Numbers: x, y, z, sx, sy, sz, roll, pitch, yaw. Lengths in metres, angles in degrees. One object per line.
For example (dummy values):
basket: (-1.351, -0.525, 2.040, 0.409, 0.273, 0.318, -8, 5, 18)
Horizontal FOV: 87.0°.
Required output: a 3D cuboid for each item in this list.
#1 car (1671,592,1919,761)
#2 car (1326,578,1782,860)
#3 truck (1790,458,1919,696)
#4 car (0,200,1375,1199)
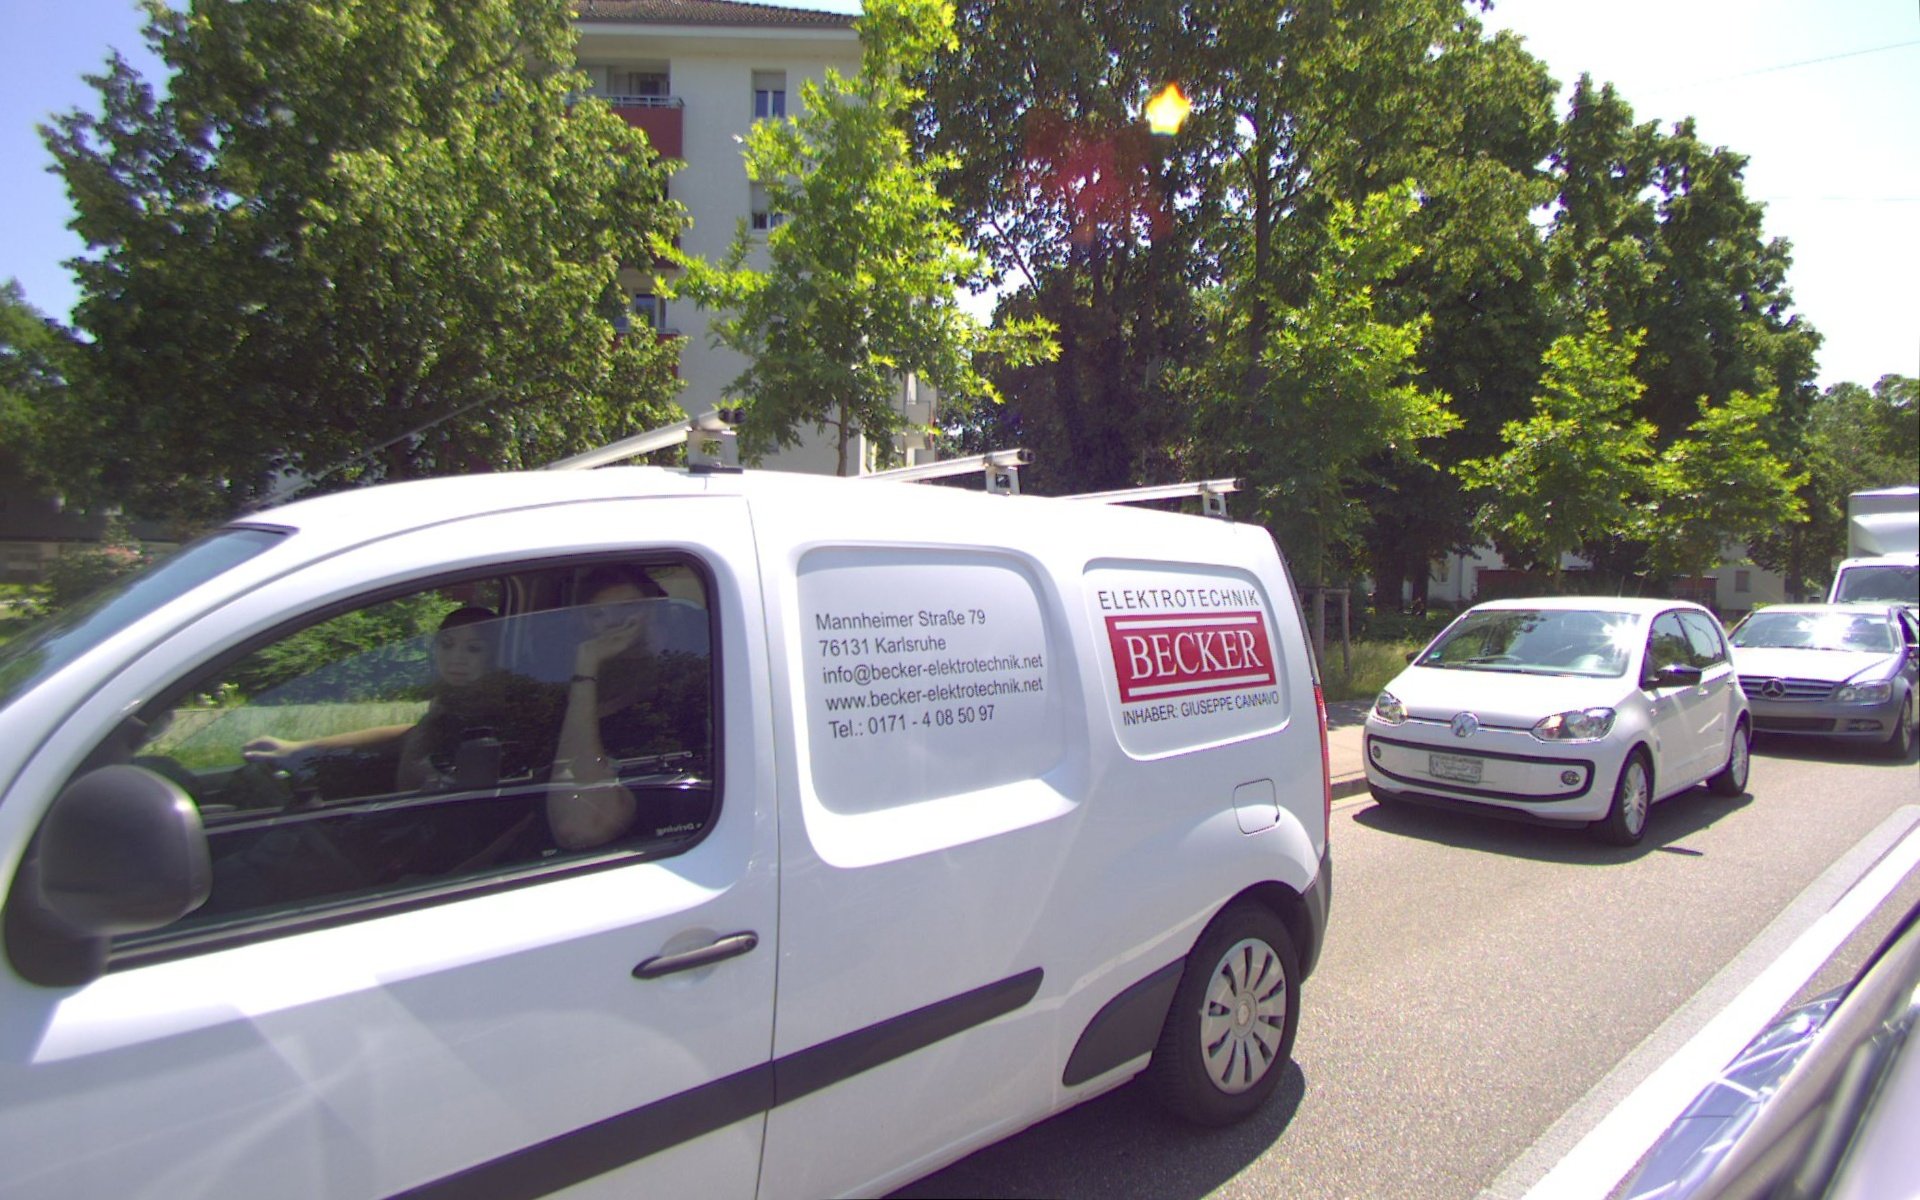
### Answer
car: (9.235, 0.651, 10.743, 4.016, 1.426, 1.839, 0, 1, -41)
car: (4.402, 0.618, 7.292, 3.705, 1.497, 1.729, 0, 1, -41)
truck: (16.517, -0.341, 16.978, 7.778, 3.387, 2.434, 0, 1, -39)
car: (-0.991, 0.452, 2.538, 4.370, 1.849, 1.997, 0, 1, -41)
